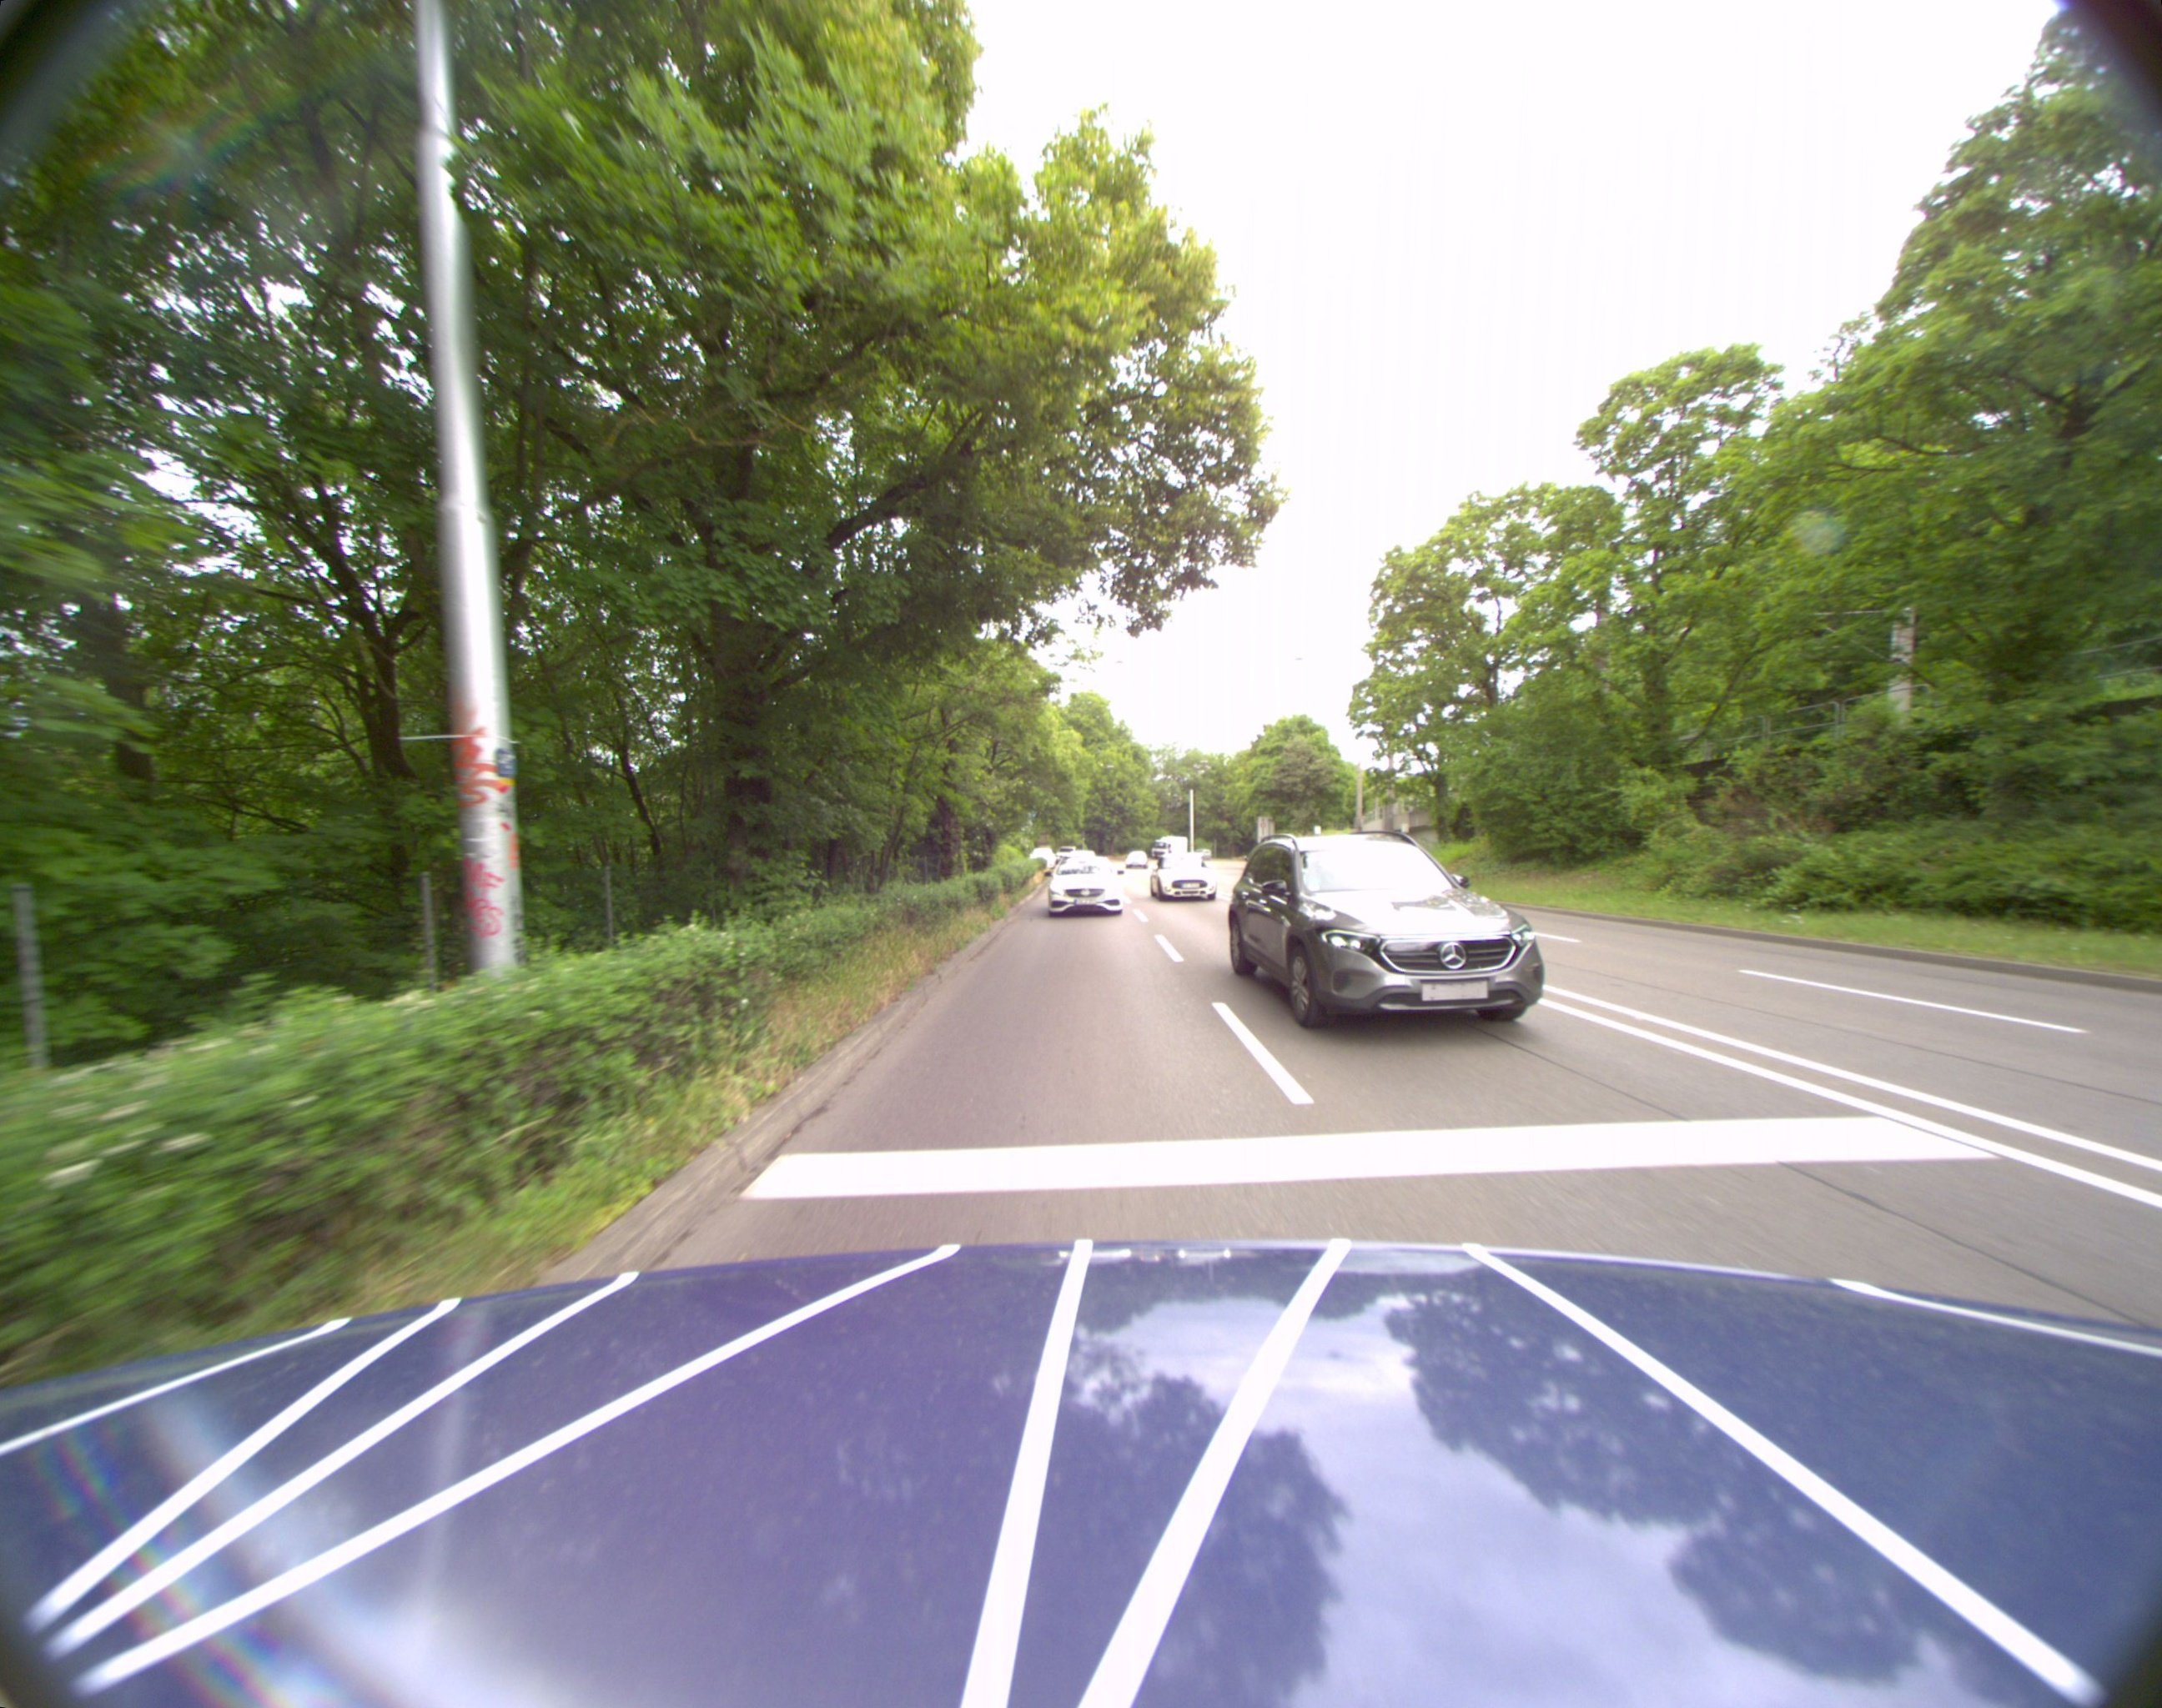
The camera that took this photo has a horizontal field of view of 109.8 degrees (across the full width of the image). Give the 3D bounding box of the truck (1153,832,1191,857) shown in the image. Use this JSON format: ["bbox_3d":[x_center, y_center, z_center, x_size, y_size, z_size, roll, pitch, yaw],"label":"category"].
[{"bbox_3d":[12.372,-1.238,102.946,2.195,3.137,6.665,2,1,33],"label":"truck"}]

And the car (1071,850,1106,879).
[{"bbox_3d":[0.468,0.537,41.555,1.755,1.417,4.010,3,1,1],"label":"car"}]

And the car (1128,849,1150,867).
[{"bbox_3d":[4.833,0.318,62.981,1.663,1.382,4.184,-1,0,6],"label":"car"}]

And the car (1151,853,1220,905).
[{"bbox_3d":[3.188,0.718,23.778,1.688,1.415,3.732,-1,0,1],"label":"car"}]

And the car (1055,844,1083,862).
[{"bbox_3d":[-1.075,-0.092,70.504,1.754,1.575,4.013,1,0,10],"label":"car"}]

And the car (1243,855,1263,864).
[{"bbox_3d":[26.489,0.832,117.084,1.761,1.433,3.900,2,1,32],"label":"car"}]

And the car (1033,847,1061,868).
[{"bbox_3d":[-2.417,0.255,55.151,1.765,1.433,3.891,1,0,1],"label":"car"}]

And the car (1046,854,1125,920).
[{"bbox_3d":[0.134,0.767,19.444,1.801,1.470,4.010,0,1,1],"label":"car"}]

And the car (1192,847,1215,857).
[{"bbox_3d":[17.834,-0.282,110.577,1.751,1.354,4.019,4,1,35],"label":"car"}]

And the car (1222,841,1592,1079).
[{"bbox_3d":[2.696,0.736,7.525,1.854,1.641,4.357,-1,0,1],"label":"car"}]
